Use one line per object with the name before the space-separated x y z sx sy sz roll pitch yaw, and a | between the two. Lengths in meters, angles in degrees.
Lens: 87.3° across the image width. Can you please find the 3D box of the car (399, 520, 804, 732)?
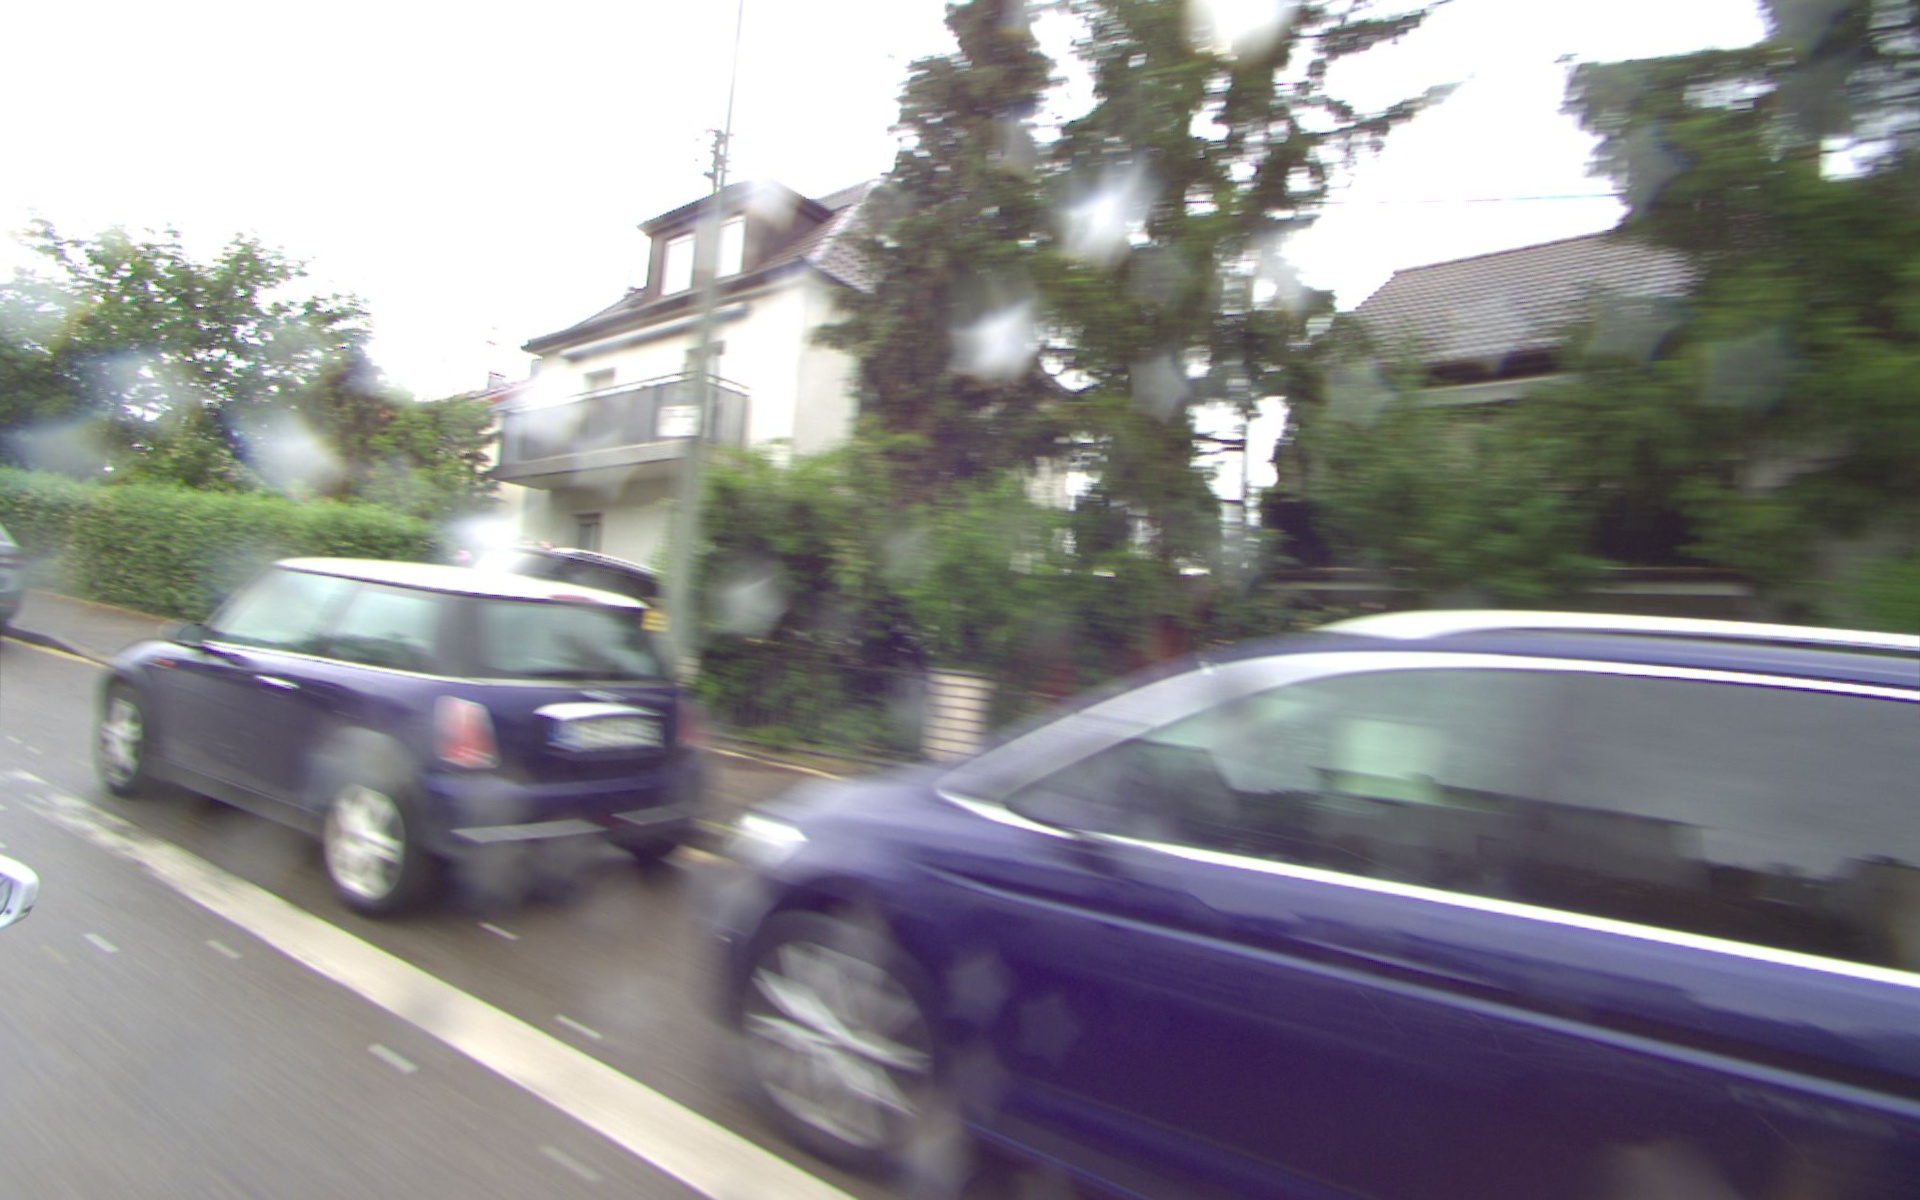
car | -3.914 0.416 11.690 1.749 1.704 4.017 7 -6 33

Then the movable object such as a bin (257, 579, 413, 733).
movable object such as a bin | -5.010 0.459 8.081 0.689 1.110 0.704 7 -2 30

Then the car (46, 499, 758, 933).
car | -3.076 0.412 5.389 3.639 1.474 1.637 6 -2 32

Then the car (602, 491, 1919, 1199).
car | 1.328 0.810 2.665 4.388 1.721 1.832 6 -2 33

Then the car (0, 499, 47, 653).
car | -11.331 -0.510 10.000 4.621 1.441 1.752 6 -2 27
